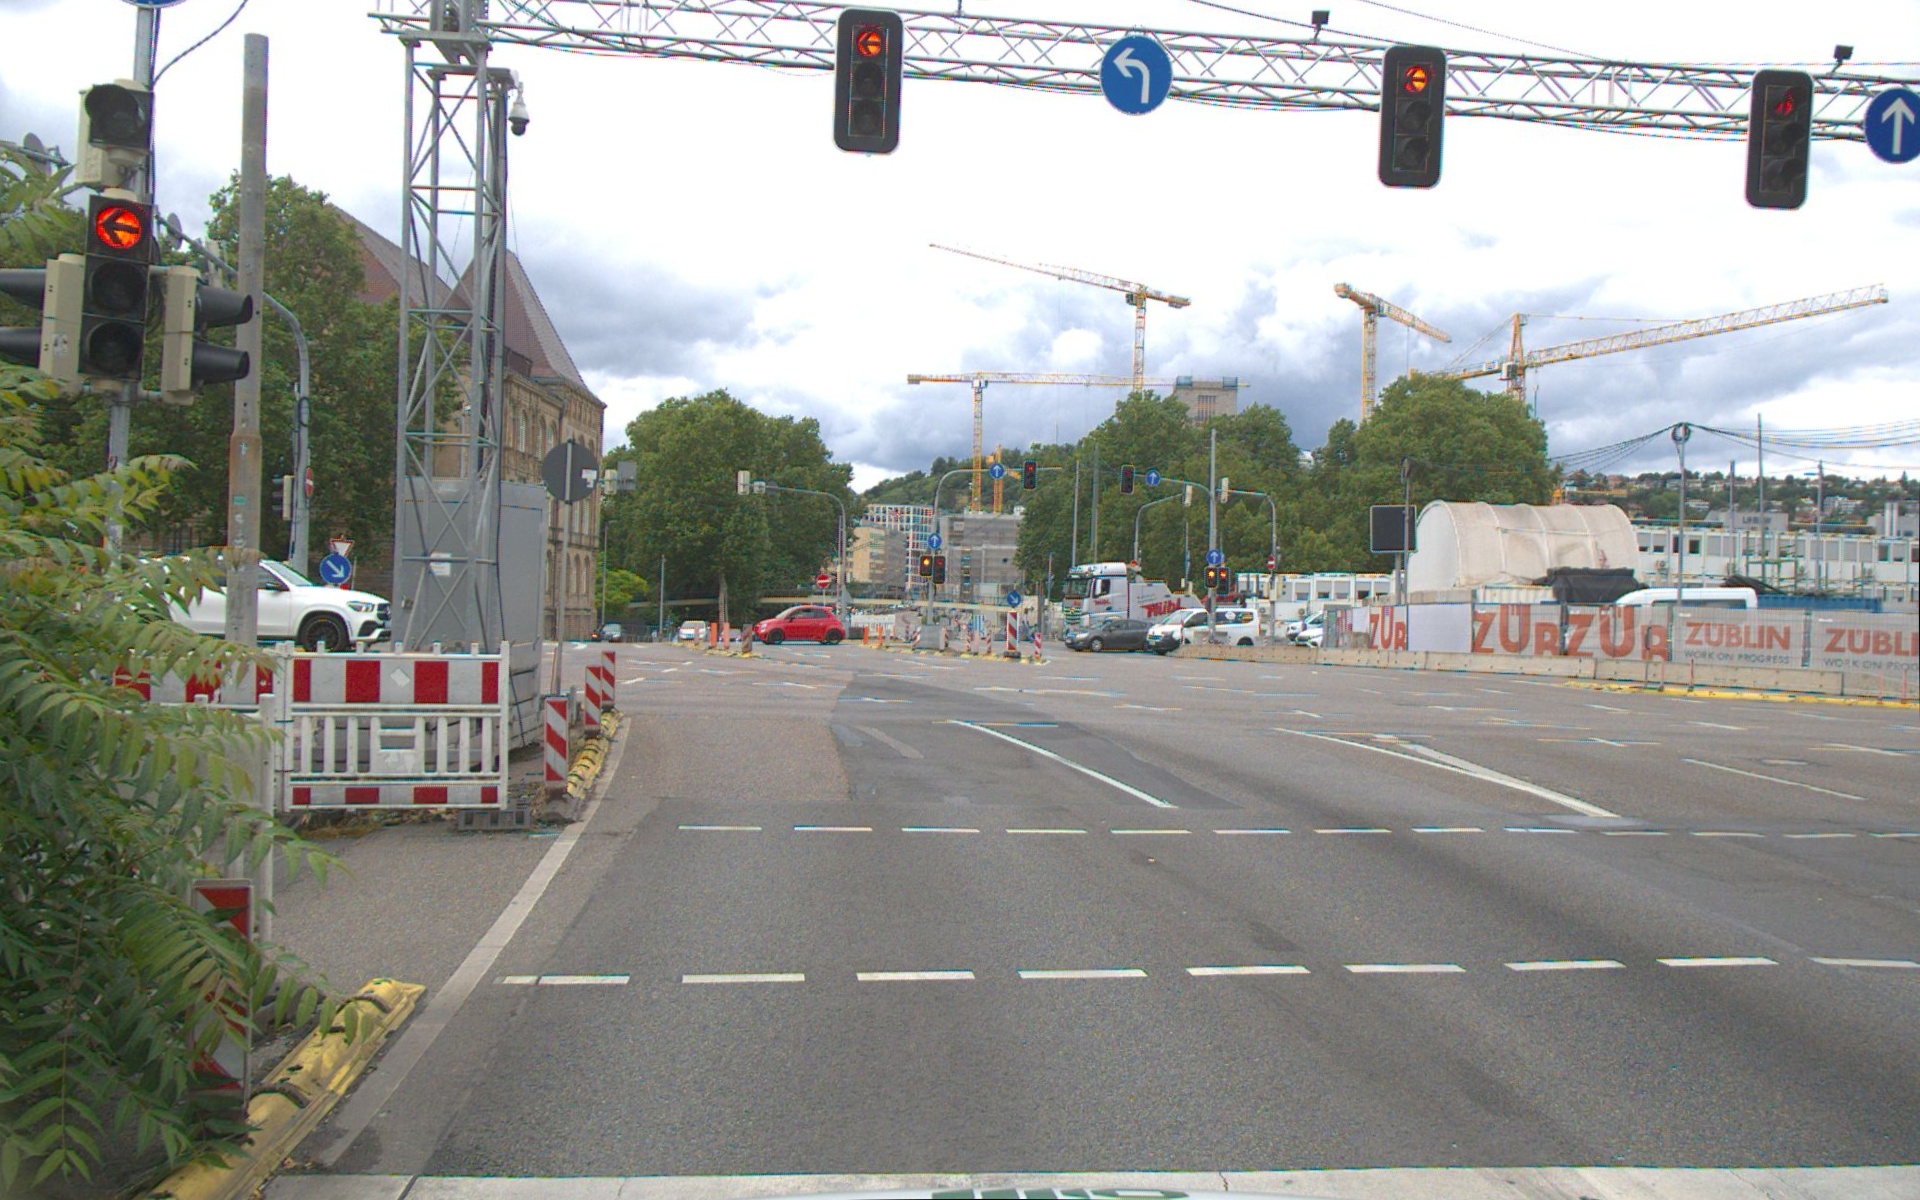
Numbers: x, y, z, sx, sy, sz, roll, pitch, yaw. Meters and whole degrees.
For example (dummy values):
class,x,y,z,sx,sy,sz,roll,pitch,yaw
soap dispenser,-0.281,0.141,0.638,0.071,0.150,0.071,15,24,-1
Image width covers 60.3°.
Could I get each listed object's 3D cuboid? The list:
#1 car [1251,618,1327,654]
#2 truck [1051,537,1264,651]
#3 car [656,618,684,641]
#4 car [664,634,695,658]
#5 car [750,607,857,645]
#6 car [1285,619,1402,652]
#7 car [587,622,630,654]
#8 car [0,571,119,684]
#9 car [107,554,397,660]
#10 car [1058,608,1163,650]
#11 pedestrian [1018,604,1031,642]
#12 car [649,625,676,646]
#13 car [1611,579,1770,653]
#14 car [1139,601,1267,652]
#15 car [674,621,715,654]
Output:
class,x,y,z,sx,sy,sz,roll,pitch,yaw
car,17.855,1.934,89.903,1.971,1.870,3.963,1,0,-28
truck,9.203,-0.217,76.884,9.584,5.047,3.091,1,-1,-24
car,-25.636,2.597,146.162,1.954,1.870,3.997,1,0,-3
car,-22.542,3.687,133.150,1.954,1.870,3.997,1,0,-3
car,-6.062,1.002,63.962,3.755,1.410,1.792,1,0,-23
car,17.902,1.665,77.252,5.066,1.444,2.220,1,0,-24
car,-21.798,2.346,102.670,1.954,1.870,3.997,1,0,-3
car,-14.373,0.333,22.893,4.400,1.492,1.999,1,0,-3
car,-12.737,0.133,30.015,4.404,1.790,1.997,1,0,-7
car,6.544,1.265,72.003,4.104,1.731,1.955,1,0,-20
pedestrian,3.216,1.138,82.432,0.574,1.872,0.604,1,-1,-4
car,-27.843,3.356,154.978,1.954,1.870,3.997,1,0,-3
car,21.056,0.450,47.825,3.902,2.049,2.001,1,0,15
car,10.348,1.134,70.375,5.061,2.049,2.062,1,0,-24
car,-15.803,2.202,98.661,1.954,1.870,3.997,1,0,-3
